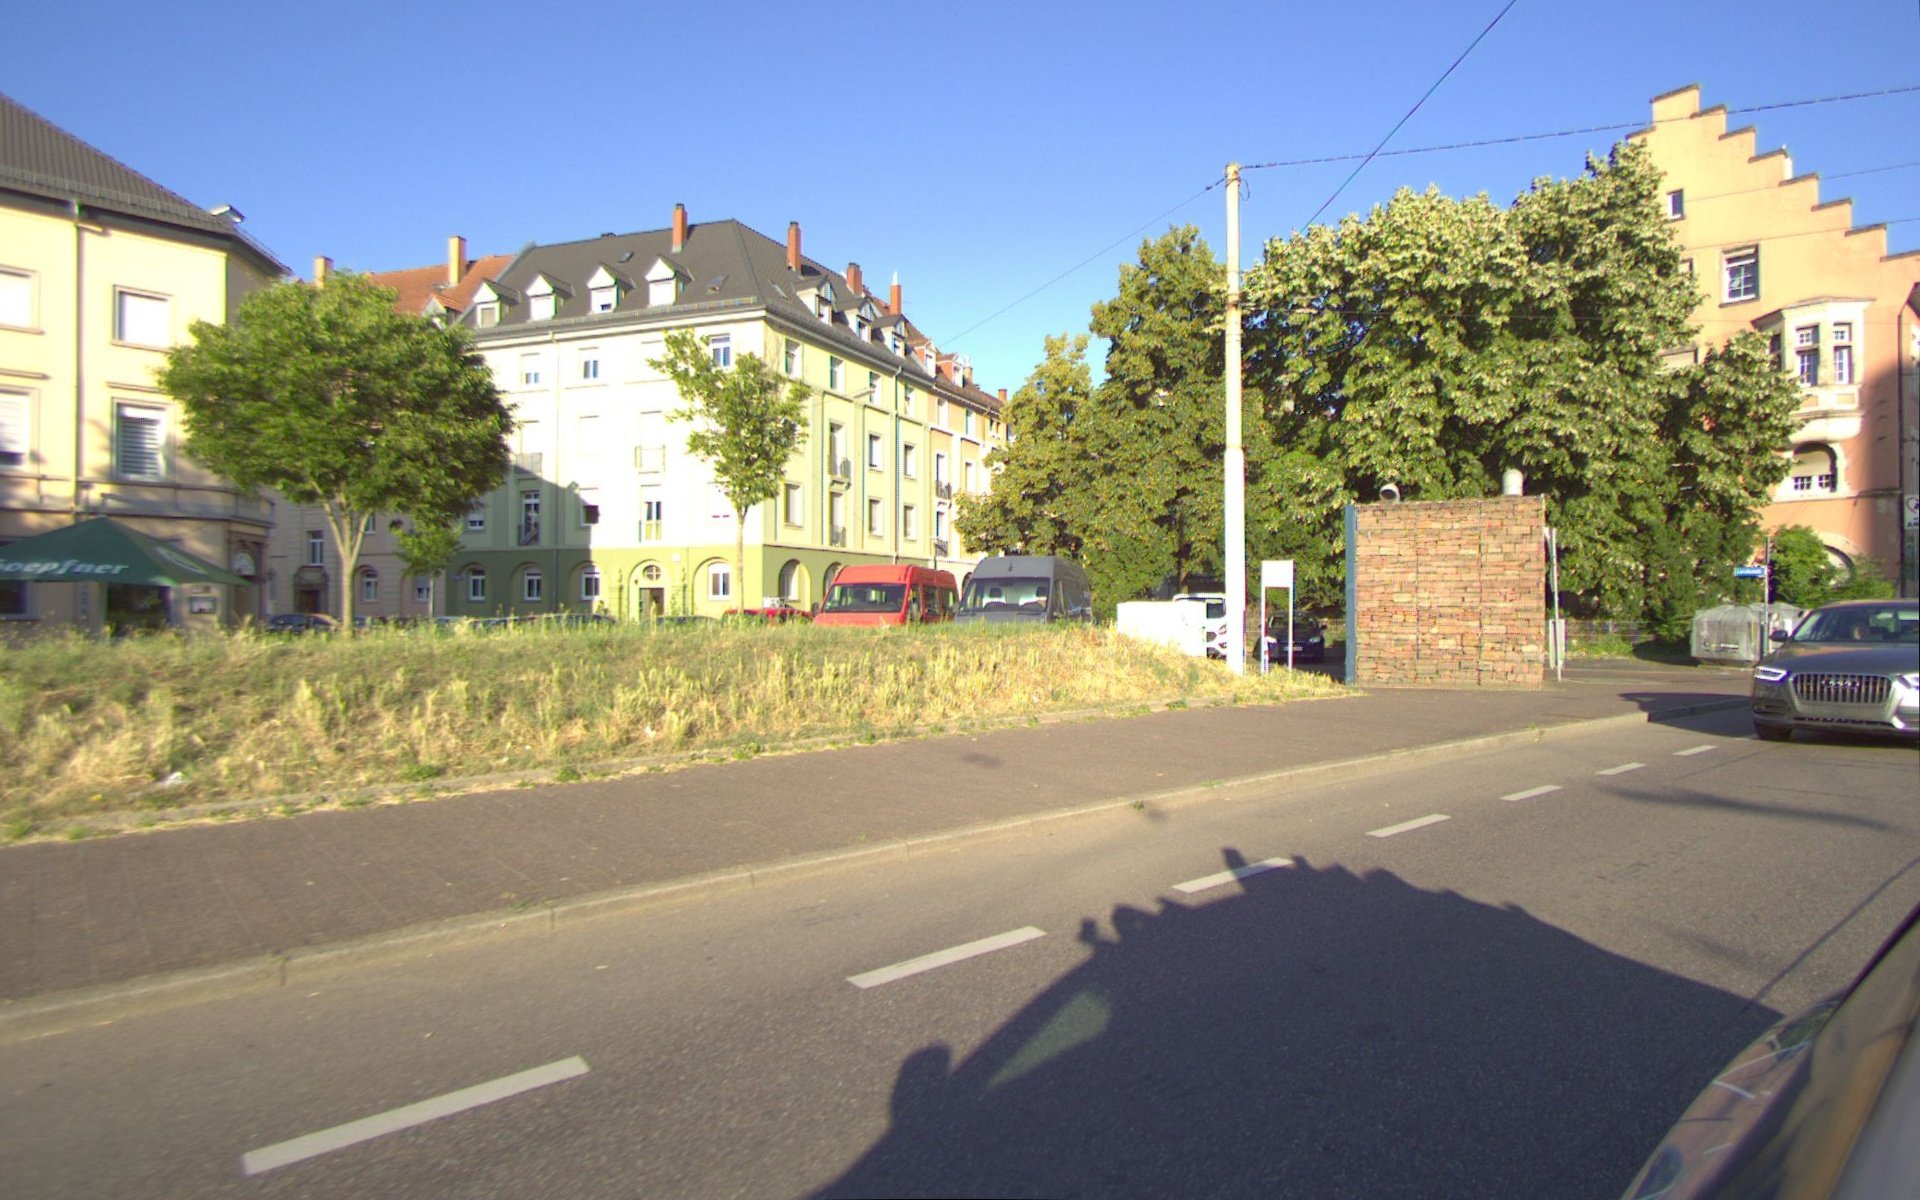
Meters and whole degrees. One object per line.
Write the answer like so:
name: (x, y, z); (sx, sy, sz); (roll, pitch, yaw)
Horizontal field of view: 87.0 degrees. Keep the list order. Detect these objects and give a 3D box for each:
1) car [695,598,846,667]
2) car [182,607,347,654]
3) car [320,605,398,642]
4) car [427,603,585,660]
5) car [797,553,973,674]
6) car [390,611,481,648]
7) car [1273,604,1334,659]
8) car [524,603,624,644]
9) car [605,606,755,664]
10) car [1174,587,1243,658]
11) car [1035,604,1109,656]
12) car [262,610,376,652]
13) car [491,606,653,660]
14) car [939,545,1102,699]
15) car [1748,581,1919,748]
car: (-4.132, 0.658, 22.698); (1.755, 1.391, 3.869); (0, 0, 17)
car: (-17.010, 0.711, 24.778); (3.492, 1.058, 1.514); (0, 0, 17)
car: (-25.748, 0.991, 43.379); (2.972, 1.534, 1.307); (0, 0, 21)
car: (-11.406, 0.737, 25.680); (1.683, 1.274, 3.687); (0, 0, 17)
car: (-1.412, 0.234, 21.719); (2.015, 2.242, 5.386); (0, 0, 17)
car: (-21.755, 1.210, 41.936); (3.585, 1.437, 1.307); (0, 0, 21)
car: (10.121, 0.879, 29.963); (1.609, 1.477, 3.426); (0, 0, 18)
car: (-15.279, 0.903, 40.059); (3.598, 1.549, 1.522); (0, 0, 20)
car: (-6.374, 0.752, 23.449); (1.683, 1.176, 3.687); (0, 0, 17)
car: (7.625, 0.618, 30.965); (1.899, 2.004, 4.727); (0, 0, 15)
car: (3.654, 0.913, 32.438); (1.725, 1.485, 4.205); (-1, 0, 15)
car: (-22.613, 1.068, 35.705); (3.592, 1.402, 1.546); (0, 0, 21)
car: (-8.987, 0.726, 23.743); (1.683, 1.103, 3.687); (0, 0, 17)
car: (1.469, 0.361, 20.915); (2.015, 2.700, 6.182); (0, 0, 17)
car: (10.599, 0.637, 11.338); (3.992, 1.607, 1.771); (0, -1, -37)
